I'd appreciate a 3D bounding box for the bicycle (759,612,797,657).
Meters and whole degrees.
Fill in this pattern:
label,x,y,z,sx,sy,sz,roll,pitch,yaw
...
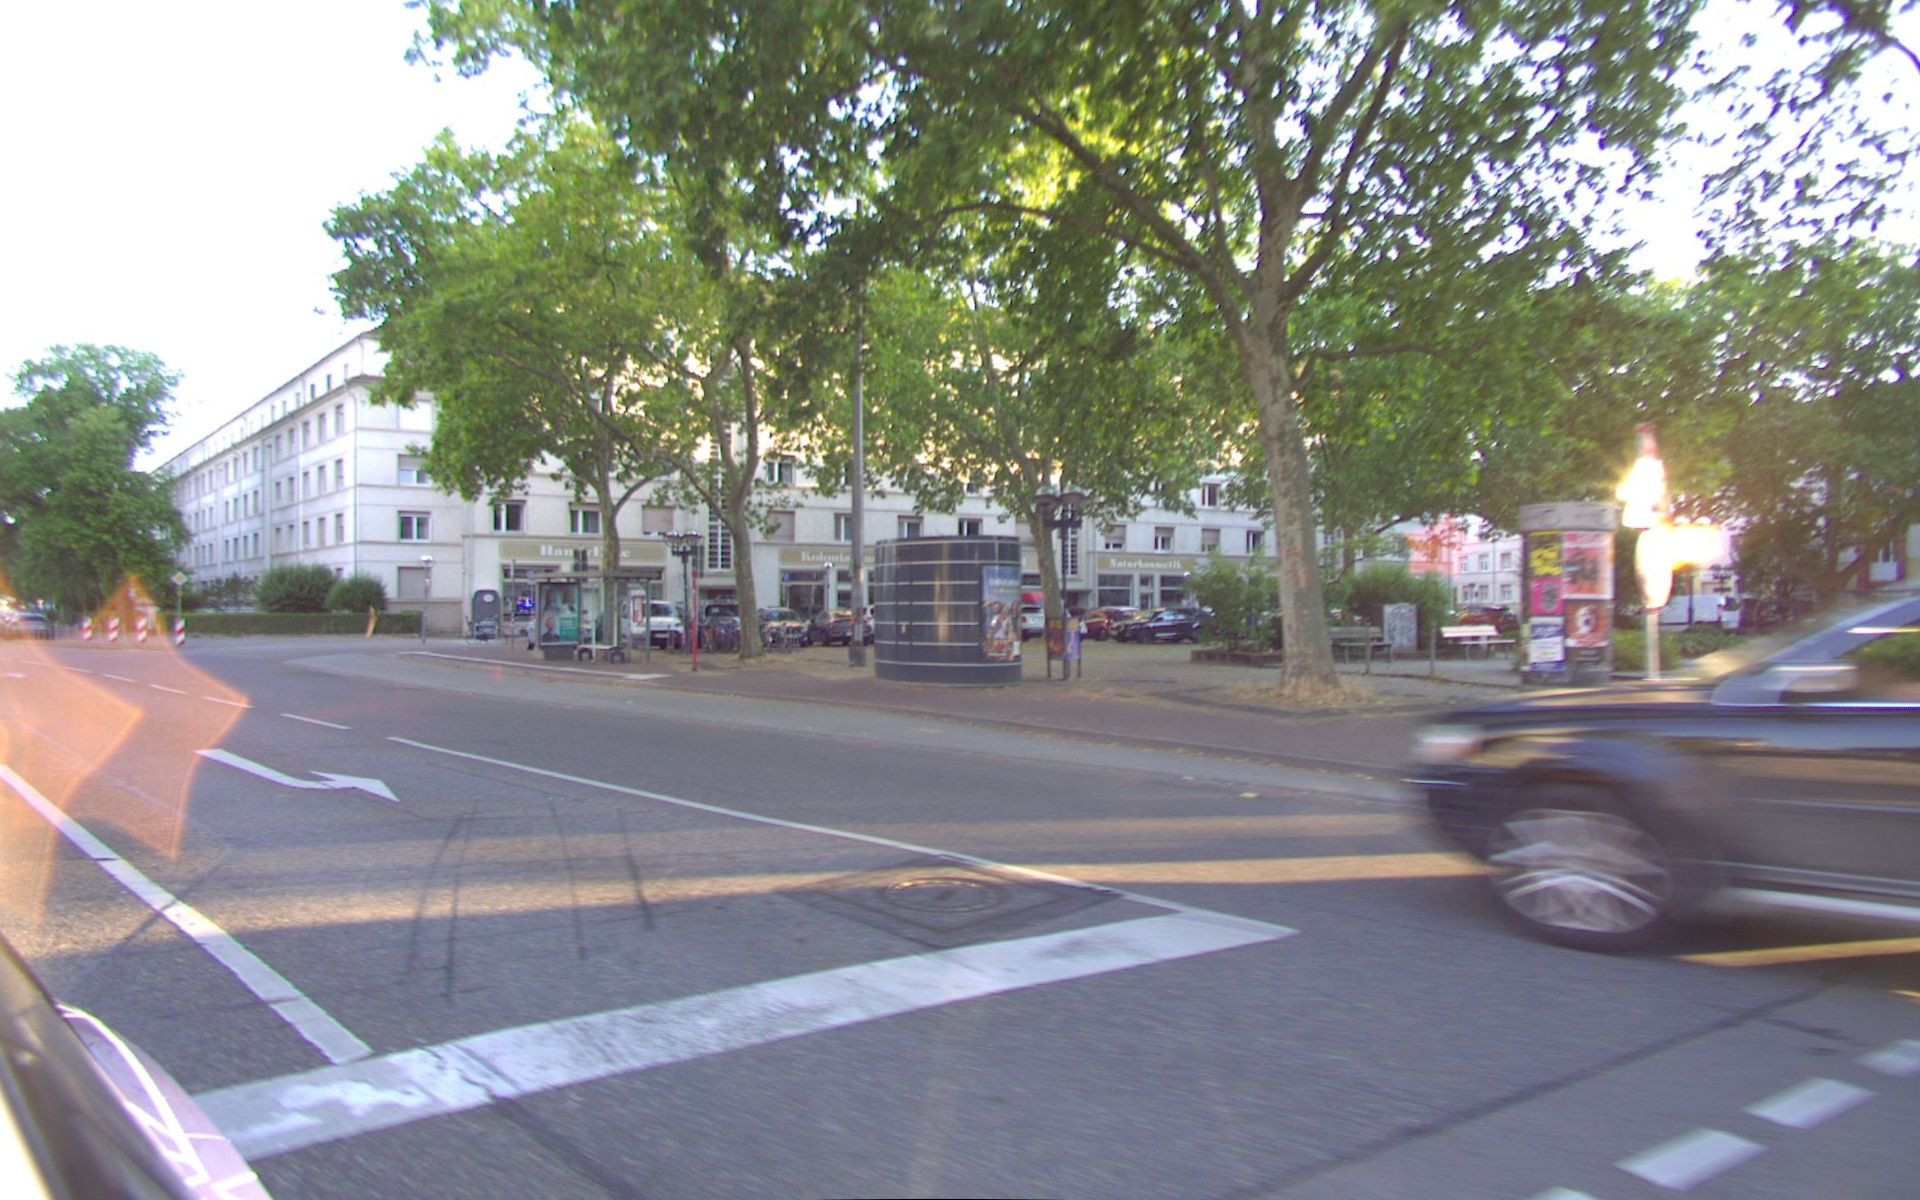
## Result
label,x,y,z,sx,sy,sz,roll,pitch,yaw
bicycle,-6.226,1.149,34.496,0.680,1.394,2.754,0,1,-23

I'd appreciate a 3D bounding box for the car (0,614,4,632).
label,x,y,z,sx,sy,sz,roll,pitch,yaw
car,-95.480,2.284,99.635,1.866,1.612,4.264,-1,1,-43

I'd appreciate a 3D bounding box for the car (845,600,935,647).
label,x,y,z,sx,sy,sz,roll,pitch,yaw
car,-2.915,0.987,41.060,1.965,1.795,4.655,1,-3,-28

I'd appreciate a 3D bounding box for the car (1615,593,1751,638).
label,x,y,z,sx,sy,sz,roll,pitch,yaw
car,33.062,0.767,46.430,1.965,1.953,4.655,1,-3,-28

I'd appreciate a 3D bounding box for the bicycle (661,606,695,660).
label,x,y,z,sx,sy,sz,roll,pitch,yaw
bicycle,-9.083,1.031,32.581,0.680,1.626,2.754,0,1,-23

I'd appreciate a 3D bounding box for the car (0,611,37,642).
label,x,y,z,sx,sy,sz,roll,pitch,yaw
car,-56.197,1.550,60.168,1.866,1.703,4.264,-1,1,-43

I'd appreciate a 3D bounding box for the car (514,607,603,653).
label,x,y,z,sx,sy,sz,roll,pitch,yaw
car,-14.288,1.092,35.835,1.966,1.515,4.653,2,-3,-34

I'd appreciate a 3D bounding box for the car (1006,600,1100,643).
label,x,y,z,sx,sy,sz,roll,pitch,yaw
car,4.060,1.019,44.962,1.965,1.795,4.655,1,-3,-28

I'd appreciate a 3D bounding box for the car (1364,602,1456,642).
label,x,y,z,sx,sy,sz,roll,pitch,yaw
car,20.130,0.968,45.309,3.696,1.674,1.680,-1,1,-22

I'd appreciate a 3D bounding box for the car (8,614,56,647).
label,x,y,z,sx,sy,sz,roll,pitch,yaw
car,-50.087,1.615,54.609,1.866,1.612,4.004,-1,1,-43

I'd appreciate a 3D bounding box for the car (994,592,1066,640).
label,x,y,z,sx,sy,sz,roll,pitch,yaw
car,3.869,0.857,56.850,1.965,2.460,4.656,1,1,-25

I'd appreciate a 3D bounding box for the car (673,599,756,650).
label,x,y,z,sx,sy,sz,roll,pitch,yaw
car,-9.295,0.973,38.086,1.965,1.795,4.655,1,-3,-28

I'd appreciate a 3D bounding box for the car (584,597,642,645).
label,x,y,z,sx,sy,sz,roll,pitch,yaw
car,-15.915,0.934,46.286,1.965,1.970,4.656,1,1,-25

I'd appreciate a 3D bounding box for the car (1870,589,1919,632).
label,x,y,z,sx,sy,sz,roll,pitch,yaw
car,47.110,0.481,49.896,3.931,2.029,2.007,-1,1,-27

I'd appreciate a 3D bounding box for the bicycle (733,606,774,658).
label,x,y,z,sx,sy,sz,roll,pitch,yaw
bicycle,-6.944,1.032,33.992,0.795,1.626,2.754,0,1,-23

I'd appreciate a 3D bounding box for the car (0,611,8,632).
label,x,y,z,sx,sy,sz,roll,pitch,yaw
car,-88.603,1.979,92.817,1.866,1.879,4.264,-1,1,-43

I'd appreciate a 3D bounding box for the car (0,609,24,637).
label,x,y,z,sx,sy,sz,roll,pitch,yaw
car,-65.502,1.535,69.423,1.866,1.787,4.264,-1,1,-43

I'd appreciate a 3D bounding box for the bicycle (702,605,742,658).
label,x,y,z,sx,sy,sz,roll,pitch,yaw
bicycle,-7.891,1.014,33.490,0.795,1.626,2.754,0,1,-23

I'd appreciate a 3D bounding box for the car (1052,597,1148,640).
label,x,y,z,sx,sy,sz,roll,pitch,yaw
car,6.240,0.886,45.740,1.965,1.795,4.655,1,-3,-28

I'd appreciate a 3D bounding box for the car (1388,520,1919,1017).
label,x,y,z,sx,sy,sz,roll,pitch,yaw
car,4.524,0.635,4.083,4.795,1.798,1.973,-1,-3,41

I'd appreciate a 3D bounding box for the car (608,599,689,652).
label,x,y,z,sx,sy,sz,roll,pitch,yaw
car,-11.360,0.959,36.659,1.965,1.795,4.655,1,-3,-28

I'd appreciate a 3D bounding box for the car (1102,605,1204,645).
label,x,y,z,sx,sy,sz,roll,pitch,yaw
car,7.734,0.997,40.591,3.696,1.540,1.680,1,0,-22

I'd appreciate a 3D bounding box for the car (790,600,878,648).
label,x,y,z,sx,sy,sz,roll,pitch,yaw
car,-5.055,0.993,40.009,1.965,1.795,4.655,1,-3,-28

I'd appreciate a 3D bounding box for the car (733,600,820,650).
label,x,y,z,sx,sy,sz,roll,pitch,yaw
car,-7.125,0.996,38.958,1.965,1.795,4.655,1,-3,-28

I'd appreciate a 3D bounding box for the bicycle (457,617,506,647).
label,x,y,z,sx,sy,sz,roll,pitch,yaw
bicycle,-20.166,1.340,42.694,1.776,1.215,0.649,0,1,-15

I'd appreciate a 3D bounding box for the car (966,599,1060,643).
label,x,y,z,sx,sy,sz,roll,pitch,yaw
car,2.197,0.966,43.569,1.965,1.795,4.655,1,-3,-28

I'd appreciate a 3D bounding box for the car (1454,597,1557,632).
label,x,y,z,sx,sy,sz,roll,pitch,yaw
car,30.500,0.841,56.685,1.967,1.824,4.659,2,-3,-37

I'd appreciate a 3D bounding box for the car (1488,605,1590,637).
label,x,y,z,sx,sy,sz,roll,pitch,yaw
car,32.999,1.222,57.764,1.968,1.748,4.648,2,-3,-39

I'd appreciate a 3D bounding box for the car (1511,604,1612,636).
label,x,y,z,sx,sy,sz,roll,pitch,yaw
car,35.049,1.195,59.039,1.968,1.748,4.648,2,-3,-39
